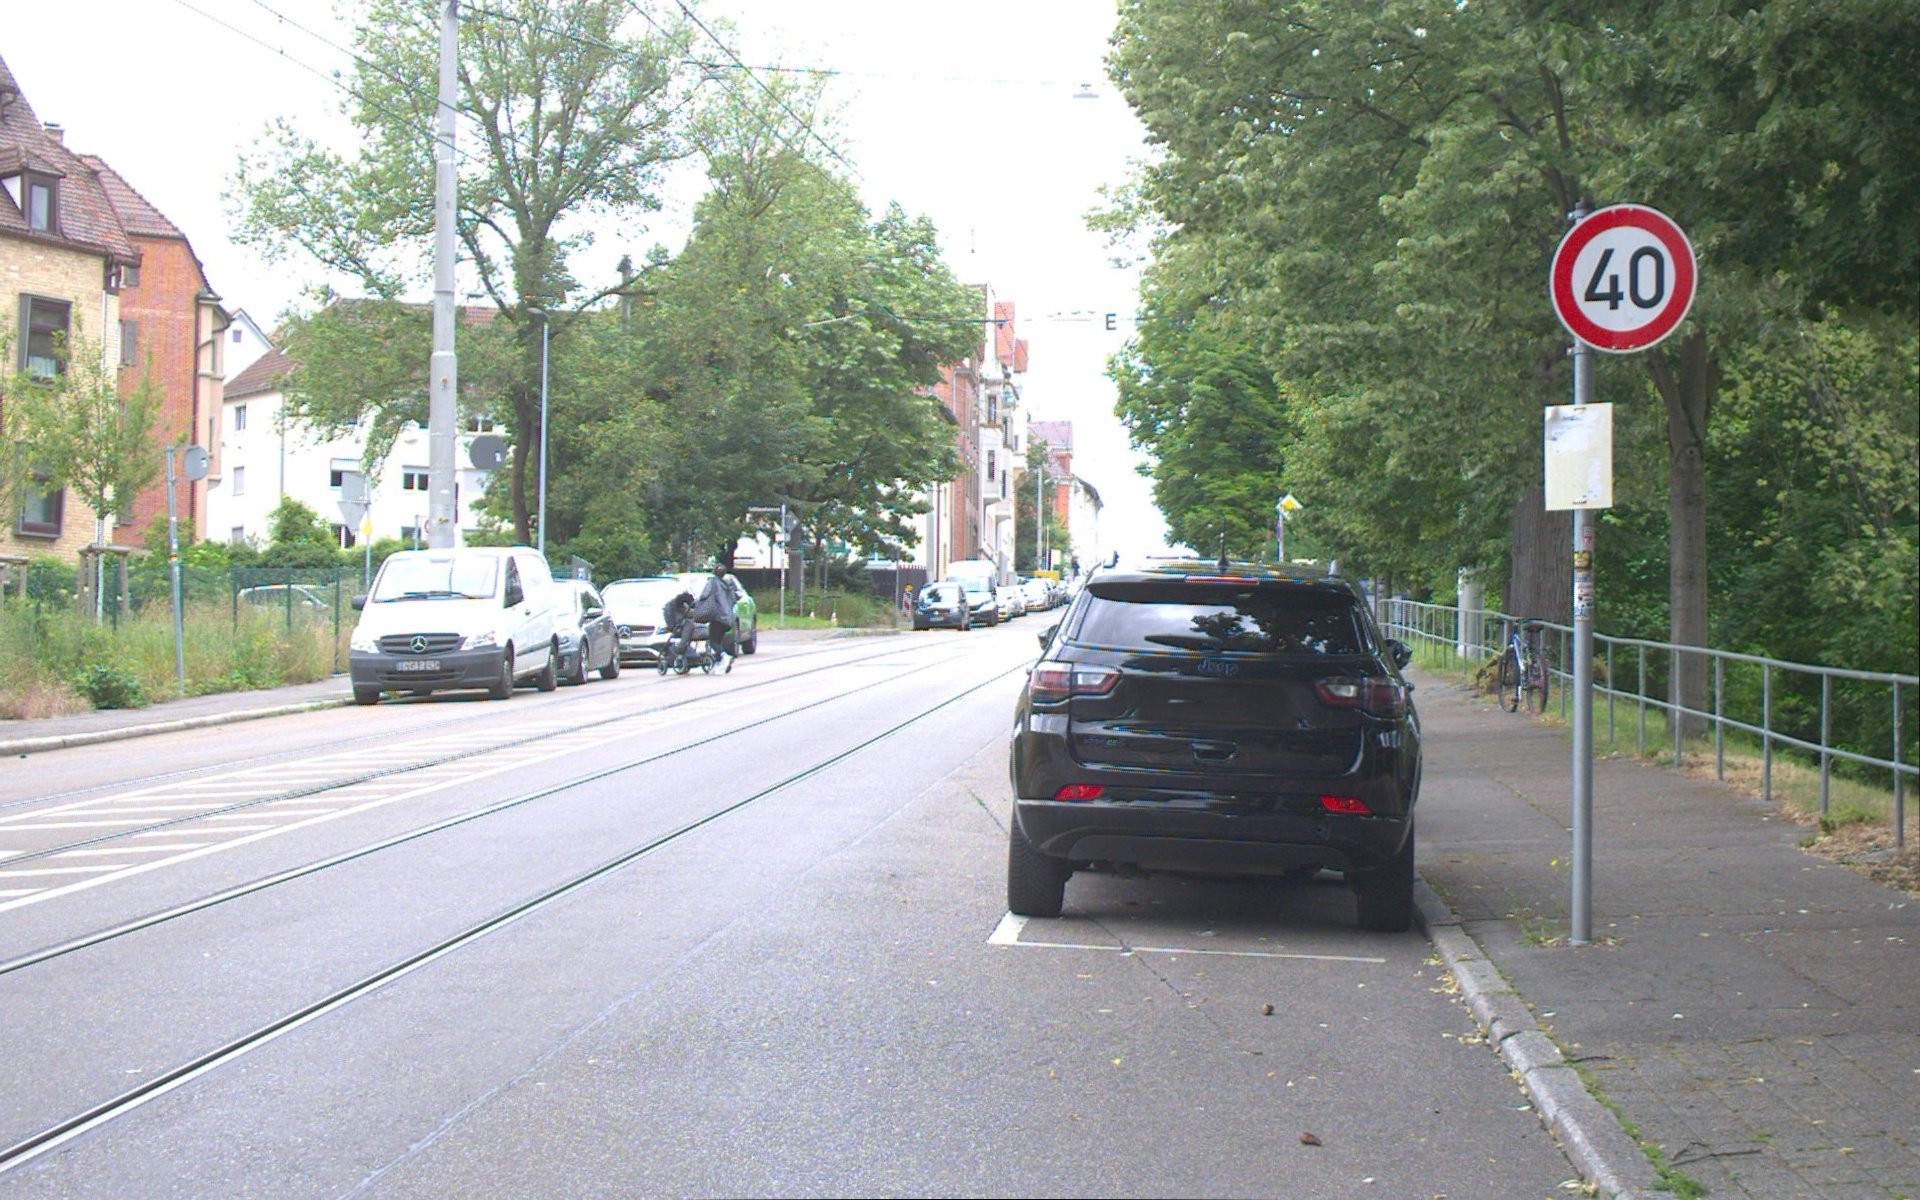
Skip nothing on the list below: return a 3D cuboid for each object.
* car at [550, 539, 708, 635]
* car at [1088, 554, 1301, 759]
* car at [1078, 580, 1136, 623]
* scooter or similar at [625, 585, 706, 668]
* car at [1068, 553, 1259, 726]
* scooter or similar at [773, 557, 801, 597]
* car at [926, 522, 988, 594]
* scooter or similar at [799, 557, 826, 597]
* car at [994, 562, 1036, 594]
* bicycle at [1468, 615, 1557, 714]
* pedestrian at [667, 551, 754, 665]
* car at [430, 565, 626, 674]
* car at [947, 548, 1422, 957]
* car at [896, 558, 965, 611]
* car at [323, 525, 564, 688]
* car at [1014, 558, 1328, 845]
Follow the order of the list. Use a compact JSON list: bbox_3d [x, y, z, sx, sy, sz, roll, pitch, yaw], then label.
[{"bbox_3d":[-5.430,-0.228,56.933,1.885,1.521,4.663,0,0,4],"label":"car"},{"bbox_3d":[2.136,0.463,32.071,1.726,1.626,4.088,5,1,2],"label":"car"},{"bbox_3d":[5.454,0.065,127.066,1.994,1.493,4.311,2,0,4],"label":"car"},{"bbox_3d":[-4.312,0.388,50.333,0.805,1.192,0.839,2,0,-44],"label":"scooter or similar"},{"bbox_3d":[2.299,0.371,38.101,1.877,1.672,5.062,3,1,4],"label":"car"},{"bbox_3d":[-5.952,-0.780,118.495,0.691,1.334,1.638,2,0,5],"label":"scooter or similar"},{"bbox_3d":[-0.088,-1.652,137.495,2.231,2.755,5.799,2,0,2],"label":"car"},{"bbox_3d":[-5.079,-0.791,118.388,0.691,1.334,1.638,2,0,5],"label":"scooter or similar"},{"bbox_3d":[2.924,-1.155,181.219,1.924,1.596,3.999,2,0,4],"label":"car"},{"bbox_3d":[5.680,0.652,35.432,0.427,0.972,1.795,2,0,-6],"label":"bicycle"},{"bbox_3d":[-3.615,0.114,49.812,0.805,1.623,0.916,2,0,-44],"label":"pedestrian"},{"bbox_3d":[-5.997,0.237,48.233,1.896,1.428,4.511,0,1,4],"label":"car"},{"bbox_3d":[1.133,0.598,16.573,1.904,1.609,4.599,3,1,5],"label":"car"},{"bbox_3d":[-1.033,-0.560,122.871,1.994,1.802,3.999,2,0,5],"label":"car"},{"bbox_3d":[-6.362,0.073,42.905,2.036,1.875,4.885,-1,0,3],"label":"car"},{"bbox_3d":[1.332,0.551,21.656,1.734,1.570,4.364,2,1,4],"label":"car"}]
